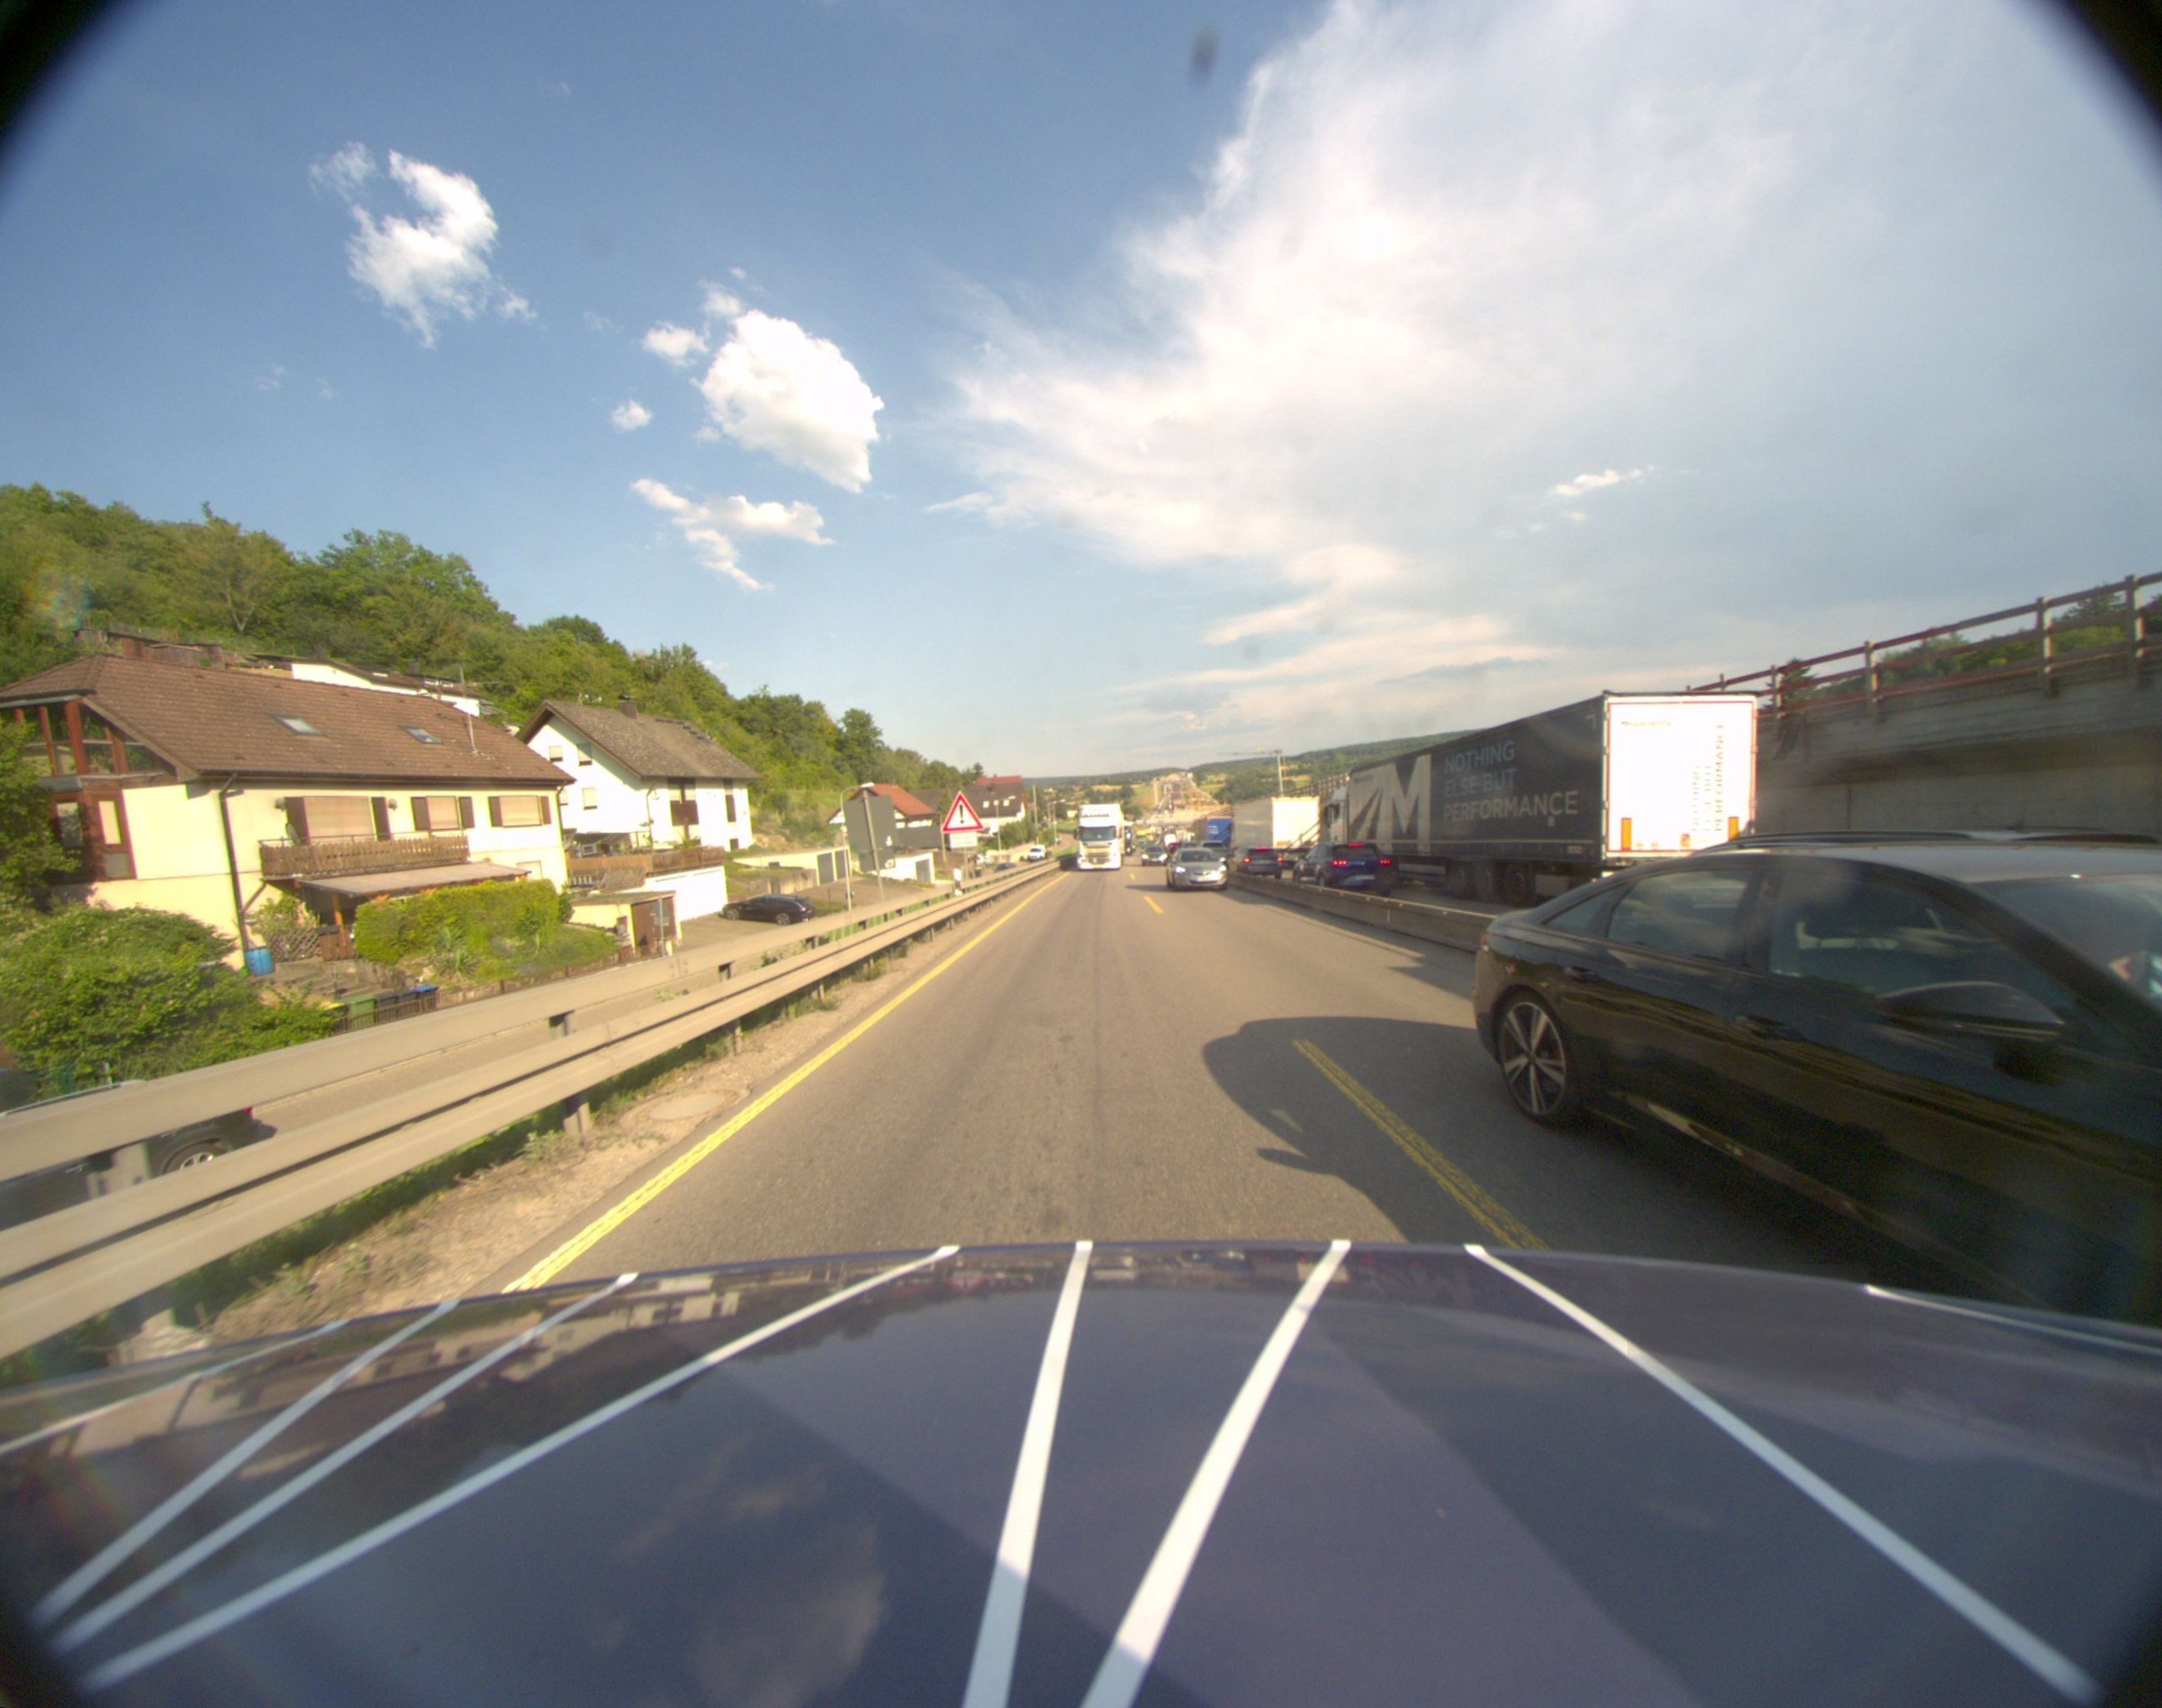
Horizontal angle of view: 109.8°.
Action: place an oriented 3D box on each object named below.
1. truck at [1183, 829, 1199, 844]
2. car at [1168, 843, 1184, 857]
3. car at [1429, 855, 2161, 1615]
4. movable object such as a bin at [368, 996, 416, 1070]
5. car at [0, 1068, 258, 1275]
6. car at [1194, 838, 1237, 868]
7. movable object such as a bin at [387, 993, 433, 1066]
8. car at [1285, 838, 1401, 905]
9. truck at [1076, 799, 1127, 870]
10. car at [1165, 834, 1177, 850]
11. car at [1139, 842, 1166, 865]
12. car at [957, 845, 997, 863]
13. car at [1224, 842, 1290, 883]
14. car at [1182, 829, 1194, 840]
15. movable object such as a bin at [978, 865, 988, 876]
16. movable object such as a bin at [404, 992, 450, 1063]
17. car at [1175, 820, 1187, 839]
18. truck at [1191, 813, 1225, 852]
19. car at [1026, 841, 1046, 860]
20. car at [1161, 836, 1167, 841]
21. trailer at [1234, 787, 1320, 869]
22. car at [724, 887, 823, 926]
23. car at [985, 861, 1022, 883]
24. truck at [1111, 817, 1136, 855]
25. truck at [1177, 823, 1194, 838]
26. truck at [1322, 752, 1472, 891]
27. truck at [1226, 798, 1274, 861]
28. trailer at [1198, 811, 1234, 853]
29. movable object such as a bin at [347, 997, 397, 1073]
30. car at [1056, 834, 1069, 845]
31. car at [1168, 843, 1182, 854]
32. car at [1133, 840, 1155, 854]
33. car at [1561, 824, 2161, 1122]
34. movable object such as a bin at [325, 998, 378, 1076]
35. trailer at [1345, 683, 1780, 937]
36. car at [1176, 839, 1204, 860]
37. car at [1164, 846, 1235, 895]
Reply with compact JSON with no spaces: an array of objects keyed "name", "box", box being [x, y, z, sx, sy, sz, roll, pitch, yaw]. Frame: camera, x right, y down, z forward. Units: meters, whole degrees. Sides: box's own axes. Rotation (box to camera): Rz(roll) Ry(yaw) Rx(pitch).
[{"name":"truck","box":[18.750,-3.036,129.462,2.279,2.288,6.064,-5,1,5]},{"name":"car","box":[11.367,-0.529,90.927,1.703,1.567,4.370,-1,2,4]},{"name":"car","box":[3.209,0.806,2.371,1.945,1.472,5.221,-1,1,1]},{"name":"movable object such as a bin","box":[-17.608,4.570,19.422,0.490,1.760,0.414,-11,2,12]},{"name":"car","box":[-15.097,4.638,10.606,1.866,1.775,4.498,-1,3,8]},{"name":"car","box":[8.688,-0.114,49.438,2.013,1.646,4.973,-4,2,2]},{"name":"movable object such as a bin","box":[-17.504,4.581,19.826,0.490,1.760,0.414,-11,2,12]},{"name":"car","box":[7.231,0.390,21.433,1.771,1.542,4.478,-3,2,1]},{"name":"truck","box":[1.519,-1.296,50.685,2.892,4.059,13.892,-1,1,3]},{"name":"car","box":[15.911,-2.134,134.579,2.000,2.601,5.614,-1,1,5]},{"name":"car","box":[5.036,-0.067,53.838,1.822,1.433,4.001,-3,1,5]},{"name":"car","box":[-11.144,-0.030,81.581,3.995,1.829,1.750,1,3,5]},{"name":"car","box":[7.475,0.303,32.789,1.779,1.449,4.813,-3,2,1]},{"name":"car","box":[21.358,-3.978,151.827,2.214,2.011,3.973,-5,1,5]},{"name":"movable object such as a bin","box":[-8.800,1.483,68.275,0.723,0.995,0.677,-4,2,5]},{"name":"movable object such as a bin","box":[-17.419,4.617,20.245,0.490,1.760,0.414,-11,2,12]},{"name":"car","box":[29.924,-7.281,228.419,3.326,5.357,14.301,-1,2,6]},{"name":"truck","box":[14.778,-2.547,88.956,2.822,4.234,10.581,-1,2,4]},{"name":"car","box":[-5.352,-0.460,91.684,1.824,1.931,4.283,-3,3,4]},{"name":"car","box":[26.561,-4.932,242.298,1.711,1.312,3.665,-5,1,5]},{"name":"trailer","box":[11.859,-1.561,47.534,2.461,4.296,13.774,-1,2,3]},{"name":"car","box":[-16.570,2.800,41.055,4.501,1.517,2.000,4,5,8]},{"name":"car","box":[-6.691,1.554,66.269,1.771,1.588,3.622,-9,-3,16]},{"name":"truck","box":[5.386,-2.236,96.250,2.788,4.505,7.191,-3,0,3]},{"name":"truck","box":[22.715,-5.057,165.671,3.241,3.128,6.489,-1,2,4]},{"name":"truck","box":[10.655,-1.073,26.300,2.771,4.180,6.113,-1,2,2]},{"name":"truck","box":[12.310,-1.775,55.721,2.461,4.292,5.473,-1,2,3]},{"name":"trailer","box":[14.090,-2.282,79.566,2.822,4.082,8.287,-1,2,4]},{"name":"movable object such as a bin","box":[-17.715,4.513,18.992,0.536,1.760,0.409,-11,2,12]},{"name":"car","box":[-3.515,-2.802,144.346,1.998,2.002,4.000,-1,2,5]},{"name":"car","box":[13.793,-0.878,111.248,1.746,1.432,4.592,-3,1,5]},{"name":"car","box":[7.427,-0.802,89.391,1.999,1.565,3.997,-1,2,-4]},{"name":"car","box":[6.676,0.602,6.719,1.867,1.577,4.744,-5,2,1]},{"name":"movable object such as a bin","box":[-17.828,4.457,18.570,0.530,1.760,0.416,-11,2,12]},{"name":"trailer","box":[10.450,-0.900,19.620,2.782,4.179,13.830,-1,1,2]},{"name":"car","box":[9.519,-0.428,66.683,1.885,1.598,4.730,-4,2,2]},{"name":"car","box":[3.995,0.511,26.217,1.810,1.478,4.117,-1,1,0]}]
